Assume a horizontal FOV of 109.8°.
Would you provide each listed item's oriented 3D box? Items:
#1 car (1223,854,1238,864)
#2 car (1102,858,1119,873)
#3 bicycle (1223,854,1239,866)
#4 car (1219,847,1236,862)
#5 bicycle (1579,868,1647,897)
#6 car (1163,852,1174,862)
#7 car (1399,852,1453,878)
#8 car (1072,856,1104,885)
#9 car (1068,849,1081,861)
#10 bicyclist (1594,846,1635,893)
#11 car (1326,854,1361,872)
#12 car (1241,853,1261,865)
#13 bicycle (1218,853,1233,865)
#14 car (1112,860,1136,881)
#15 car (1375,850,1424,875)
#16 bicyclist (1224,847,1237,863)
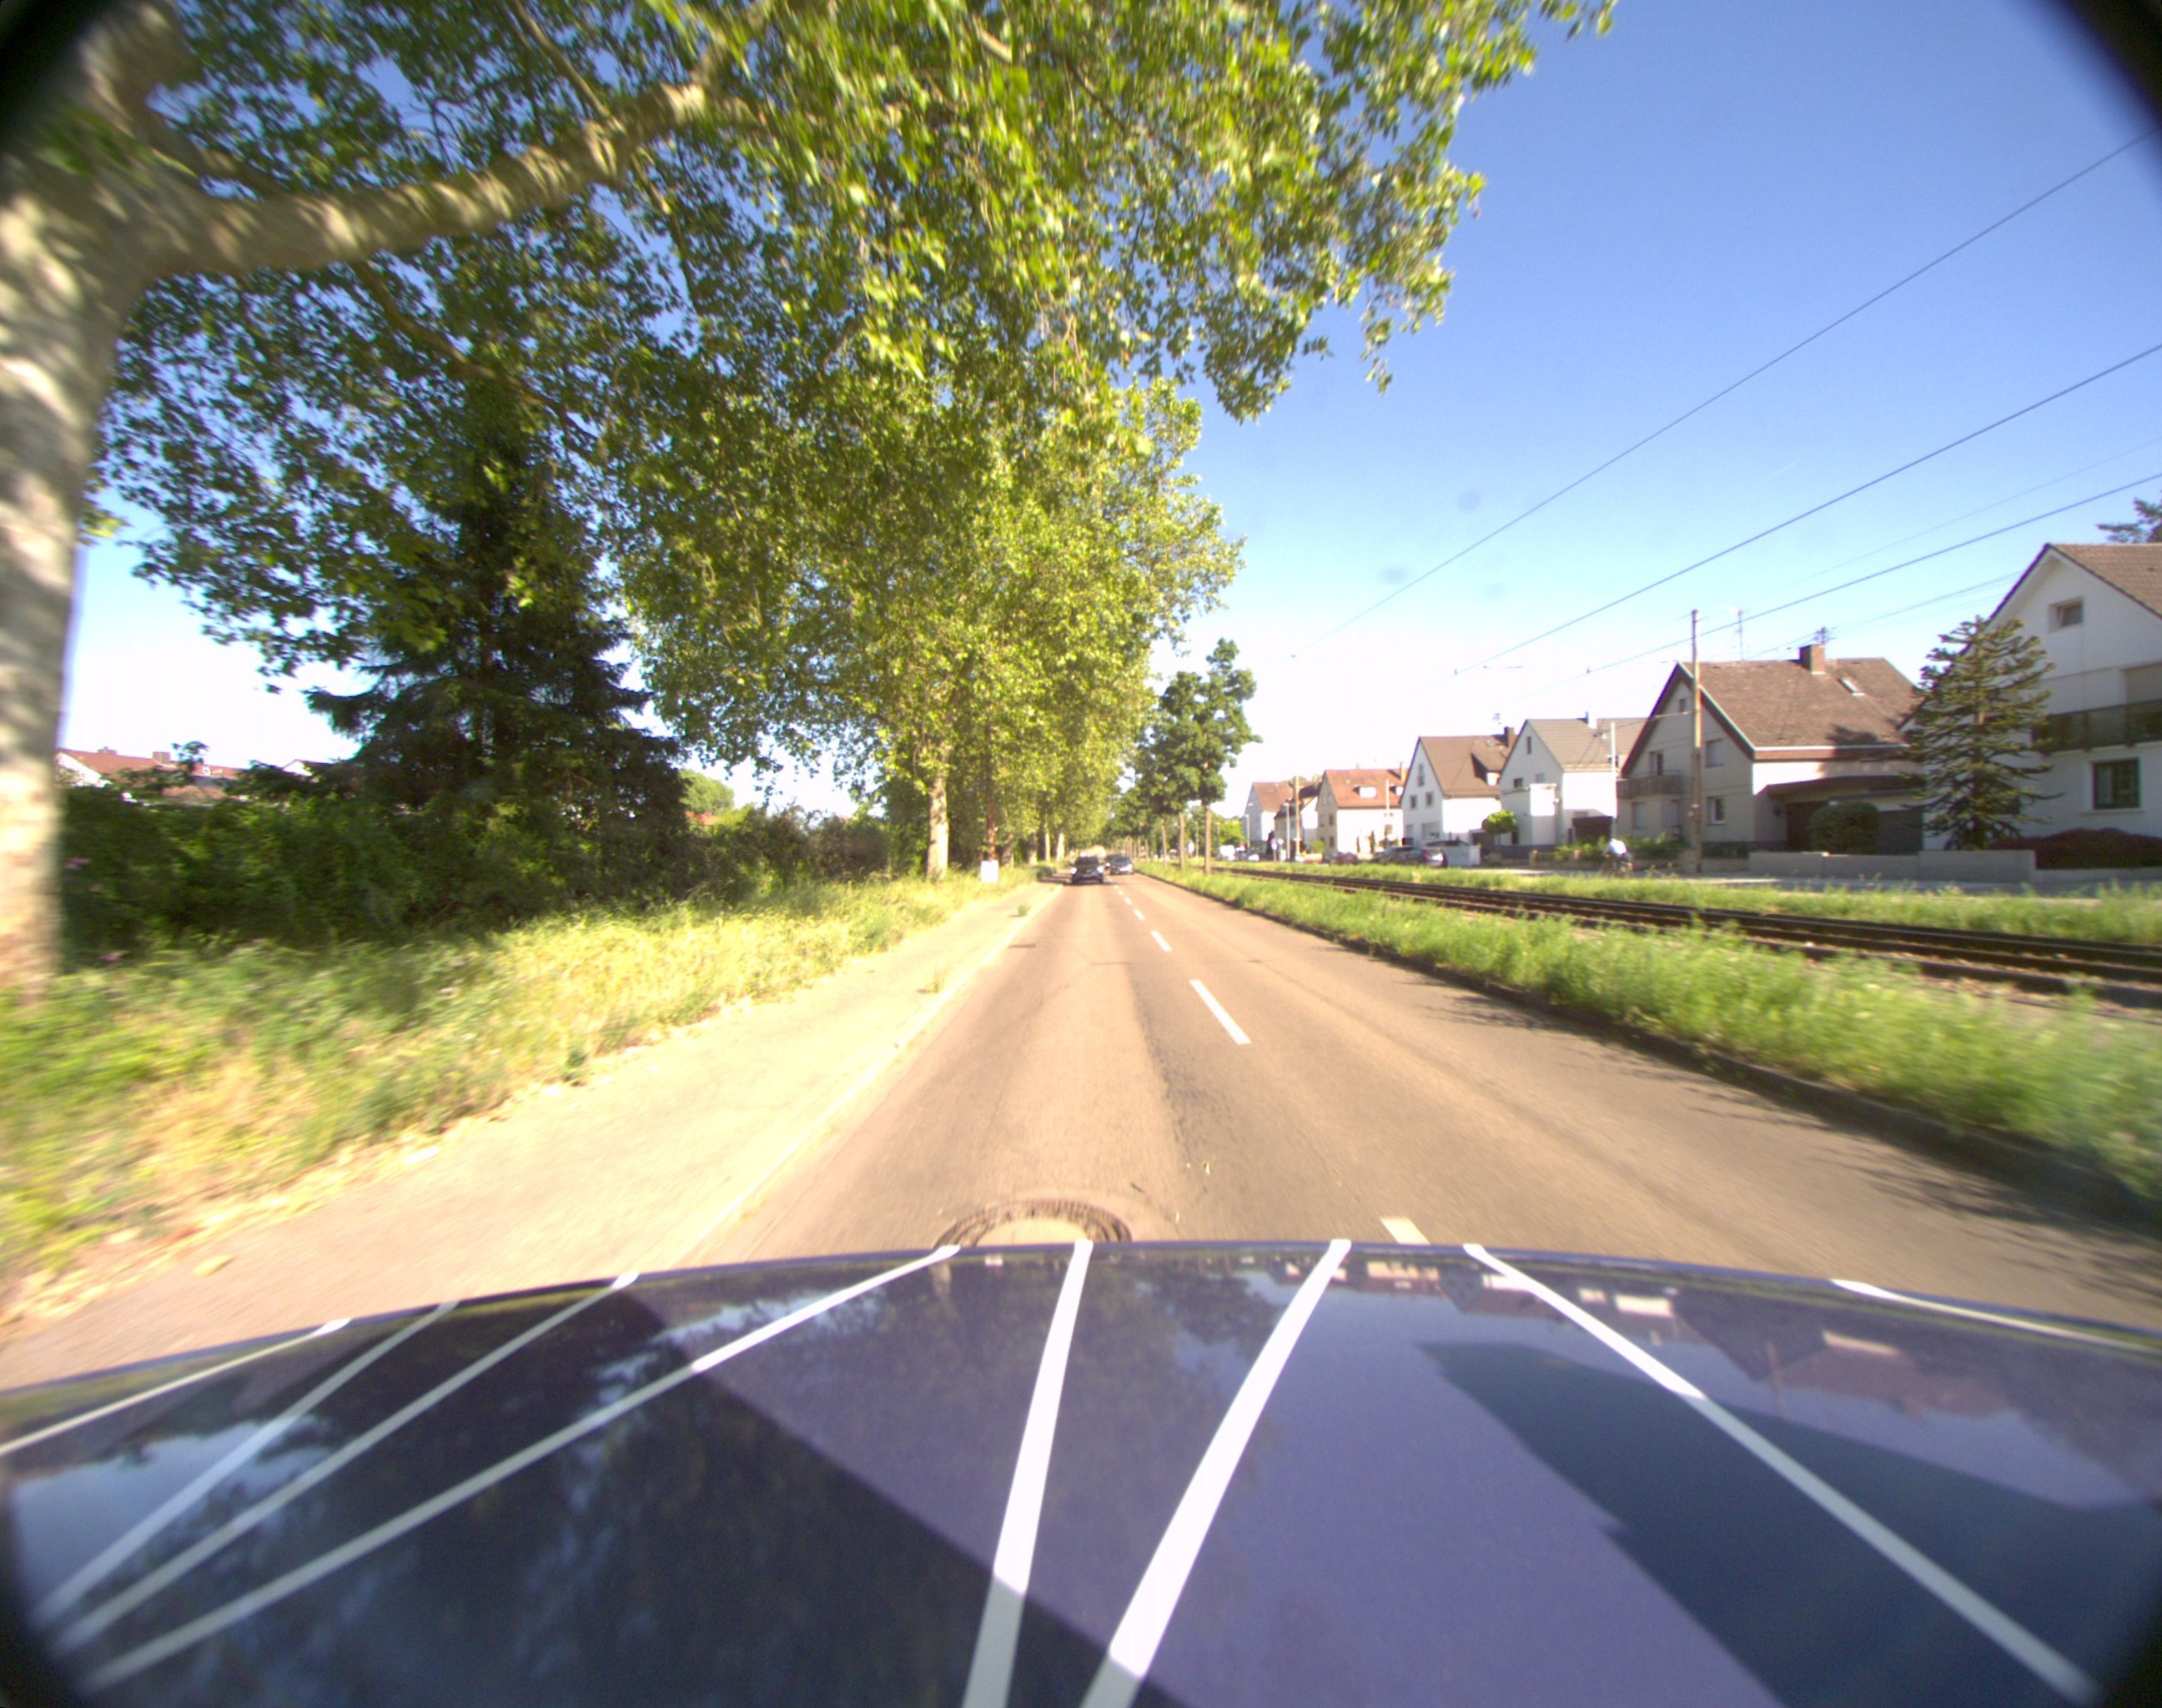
[{"bbox_3d":[23.023,0.775,117.181,1.791,1.497,4.001,-3,0,4],"label":"car"},{"bbox_3d":[3.135,1.249,82.216,1.692,1.499,3.582,-3,0,1],"label":"car"},{"bbox_3d":[20.778,0.817,105.459,1.354,1.486,4.000,-3,0,1],"label":"bicycle"},{"bbox_3d":[23.459,0.019,121.918,2.132,2.210,4.001,-3,0,4],"label":"car"},{"bbox_3d":[19.415,1.018,27.803,0.854,0.946,2.309,-3,0,1],"label":"bicycle"},{"bbox_3d":[20.101,0.722,174.905,2.133,2.023,4.000,-3,0,0],"label":"car"},{"bbox_3d":[22.099,0.658,48.792,1.738,1.481,3.756,-3,0,1],"label":"car"},{"bbox_3d":[0.416,0.894,43.448,1.692,1.499,3.582,-3,0,1],"label":"car"},{"bbox_3d":[-0.849,0.076,101.802,1.692,1.499,3.582,-3,0,1],"label":"car"},{"bbox_3d":[19.398,0.560,27.644,0.854,1.664,0.837,-3,1,1],"label":"bicyclist"},{"bbox_3d":[22.588,0.748,65.530,1.756,1.373,3.823,-3,0,1],"label":"car"},{"bbox_3d":[23.110,0.710,103.283,1.791,1.497,4.000,-3,0,1],"label":"car"},{"bbox_3d":[20.890,0.734,109.955,1.354,1.568,4.000,-3,0,1],"label":"bicycle"},{"bbox_3d":[3.343,1.255,59.269,1.692,1.499,3.582,-3,0,1],"label":"car"},{"bbox_3d":[22.157,0.560,53.016,1.802,1.588,4.012,-3,0,1],"label":"car"},{"bbox_3d":[20.679,0.118,105.145,1.310,2.220,1.623,-3,1,1],"label":"bicyclist"}]
